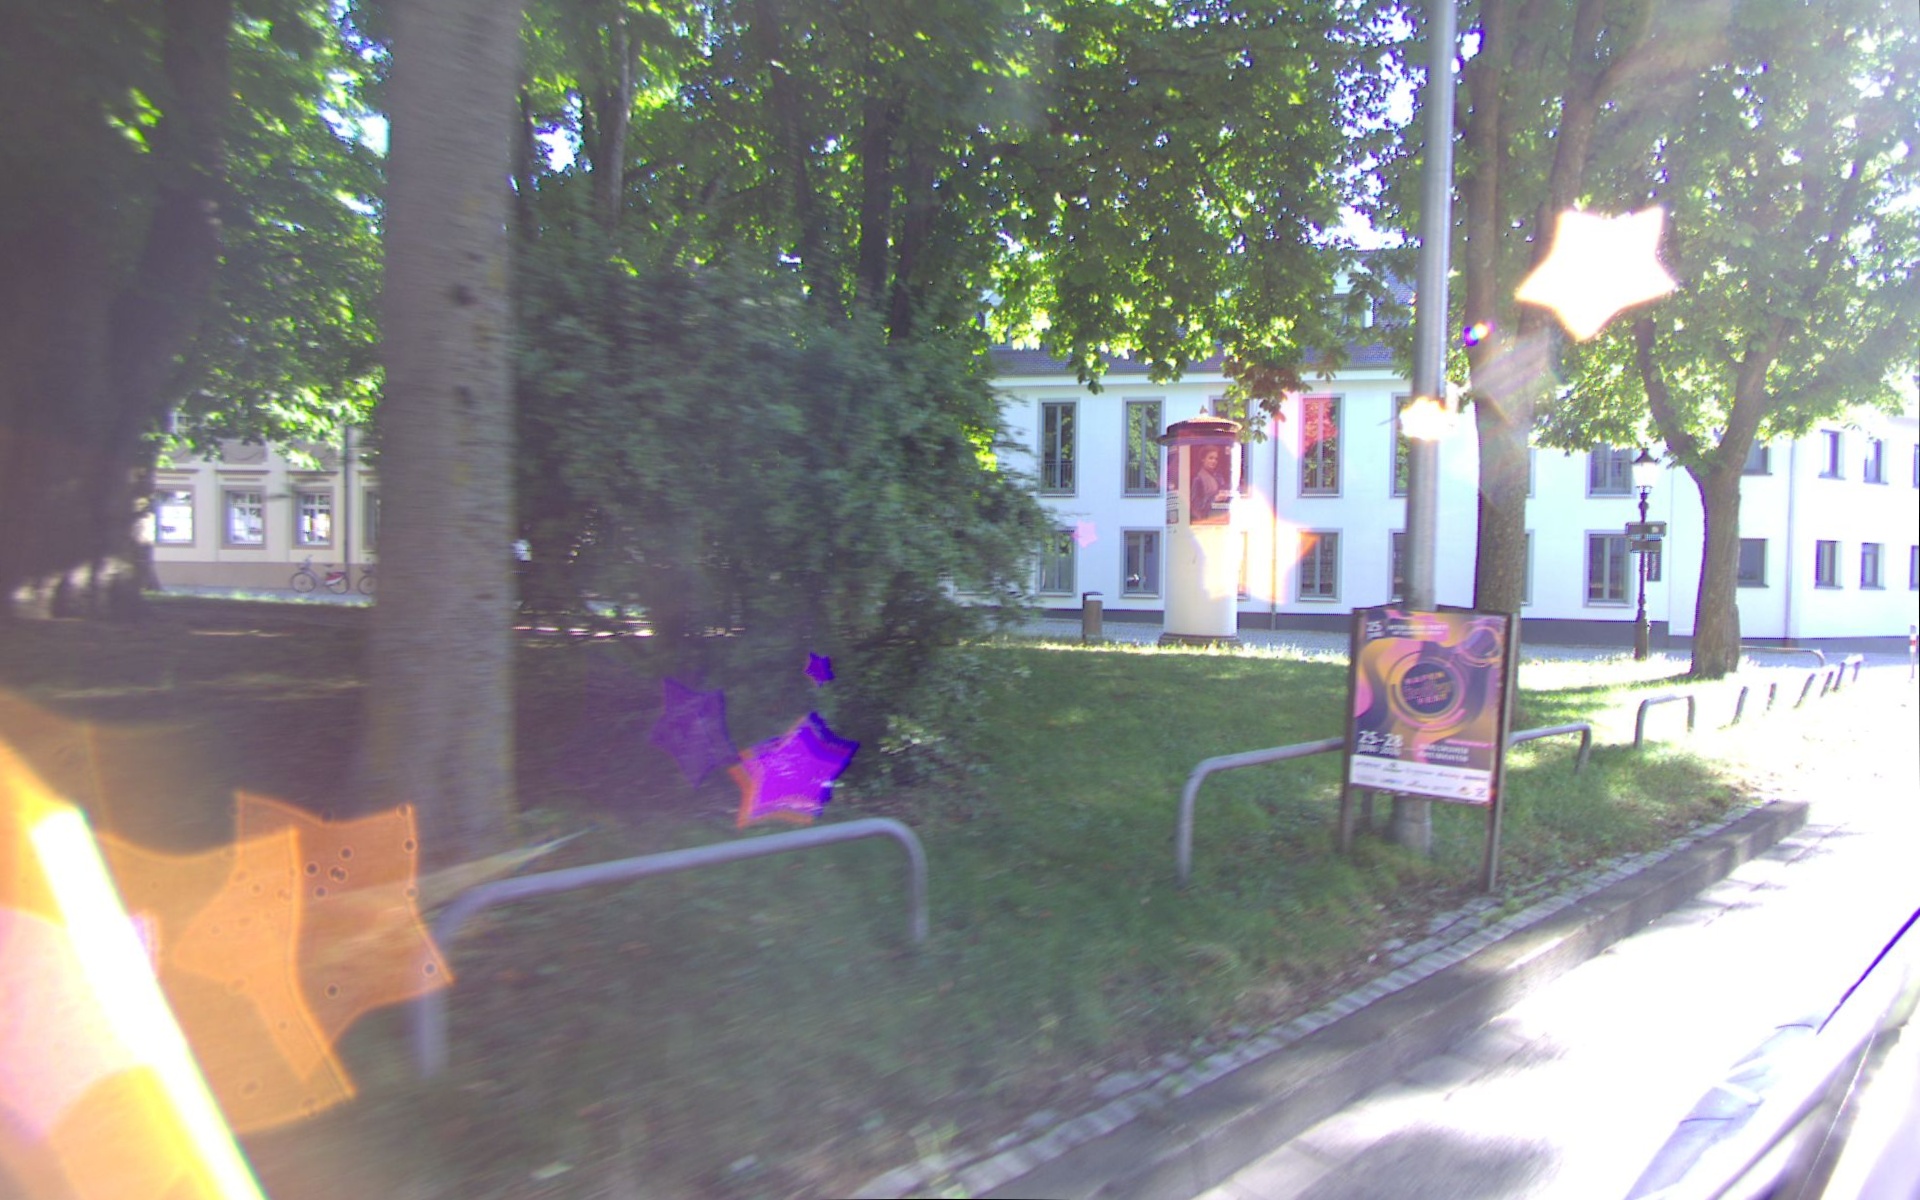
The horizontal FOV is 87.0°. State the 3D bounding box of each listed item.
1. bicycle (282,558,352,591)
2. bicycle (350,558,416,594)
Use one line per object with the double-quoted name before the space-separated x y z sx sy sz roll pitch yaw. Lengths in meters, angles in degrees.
"bicycle" -19.824 -0.782 31.230 1.723 0.970 0.517 1 2 -20
"bicycle" -17.989 -0.757 31.559 1.736 1.045 0.720 2 2 11
